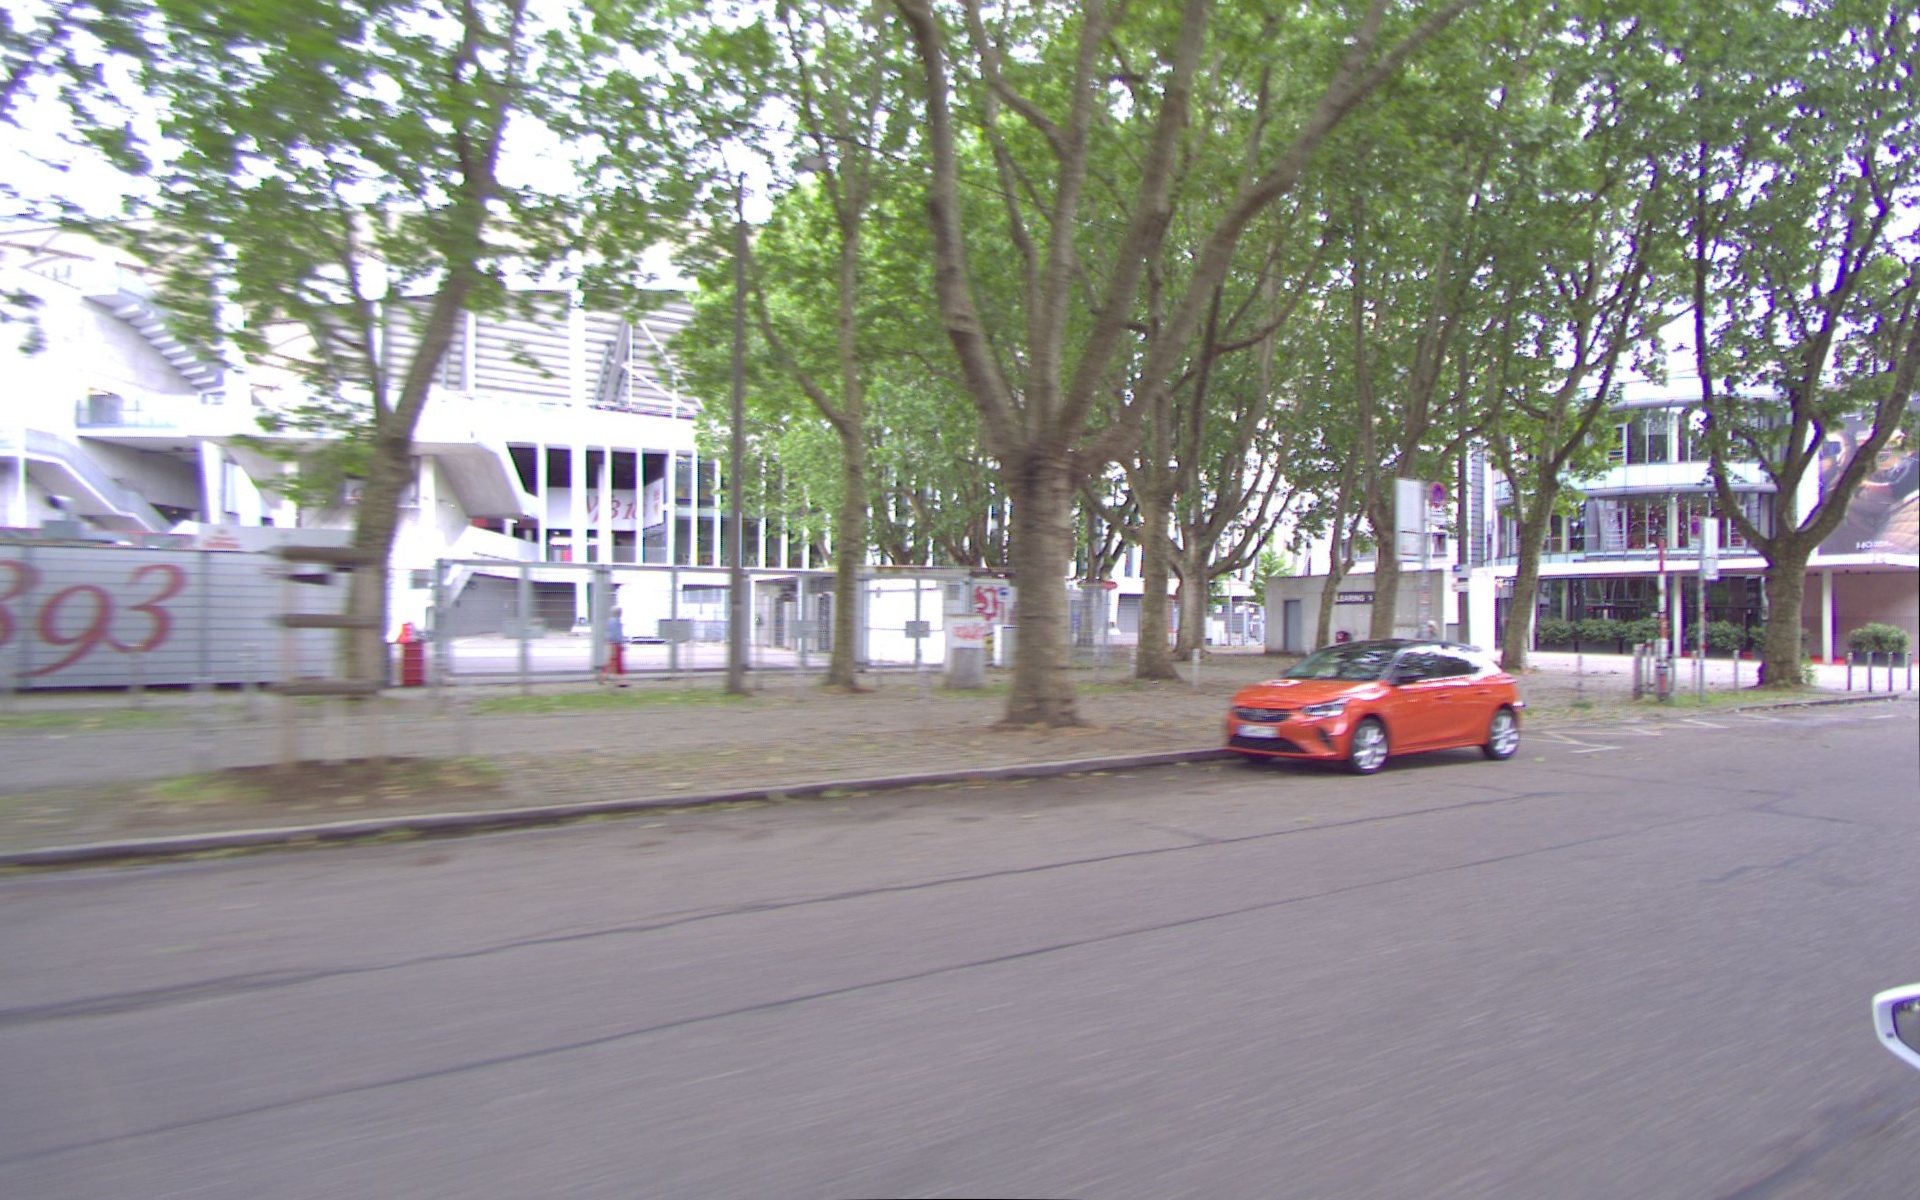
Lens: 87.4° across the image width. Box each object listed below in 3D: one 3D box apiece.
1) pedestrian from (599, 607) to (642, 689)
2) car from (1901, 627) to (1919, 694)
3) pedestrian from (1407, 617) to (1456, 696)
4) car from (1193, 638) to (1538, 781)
[{"bbox_3d":[-6.590,0.913,19.490,0.652,1.564,0.664,1,-1,-30],"label":"pedestrian"},{"bbox_3d":[25.205,1.471,24.522,4.701,1.583,2.063,1,-1,-31],"label":"car"},{"bbox_3d":[10.050,1.195,21.418,0.780,1.641,0.591,1,-1,-22],"label":"pedestrian"},{"bbox_3d":[4.856,1.172,11.915,3.954,1.372,1.799,1,-1,-31],"label":"car"}]
